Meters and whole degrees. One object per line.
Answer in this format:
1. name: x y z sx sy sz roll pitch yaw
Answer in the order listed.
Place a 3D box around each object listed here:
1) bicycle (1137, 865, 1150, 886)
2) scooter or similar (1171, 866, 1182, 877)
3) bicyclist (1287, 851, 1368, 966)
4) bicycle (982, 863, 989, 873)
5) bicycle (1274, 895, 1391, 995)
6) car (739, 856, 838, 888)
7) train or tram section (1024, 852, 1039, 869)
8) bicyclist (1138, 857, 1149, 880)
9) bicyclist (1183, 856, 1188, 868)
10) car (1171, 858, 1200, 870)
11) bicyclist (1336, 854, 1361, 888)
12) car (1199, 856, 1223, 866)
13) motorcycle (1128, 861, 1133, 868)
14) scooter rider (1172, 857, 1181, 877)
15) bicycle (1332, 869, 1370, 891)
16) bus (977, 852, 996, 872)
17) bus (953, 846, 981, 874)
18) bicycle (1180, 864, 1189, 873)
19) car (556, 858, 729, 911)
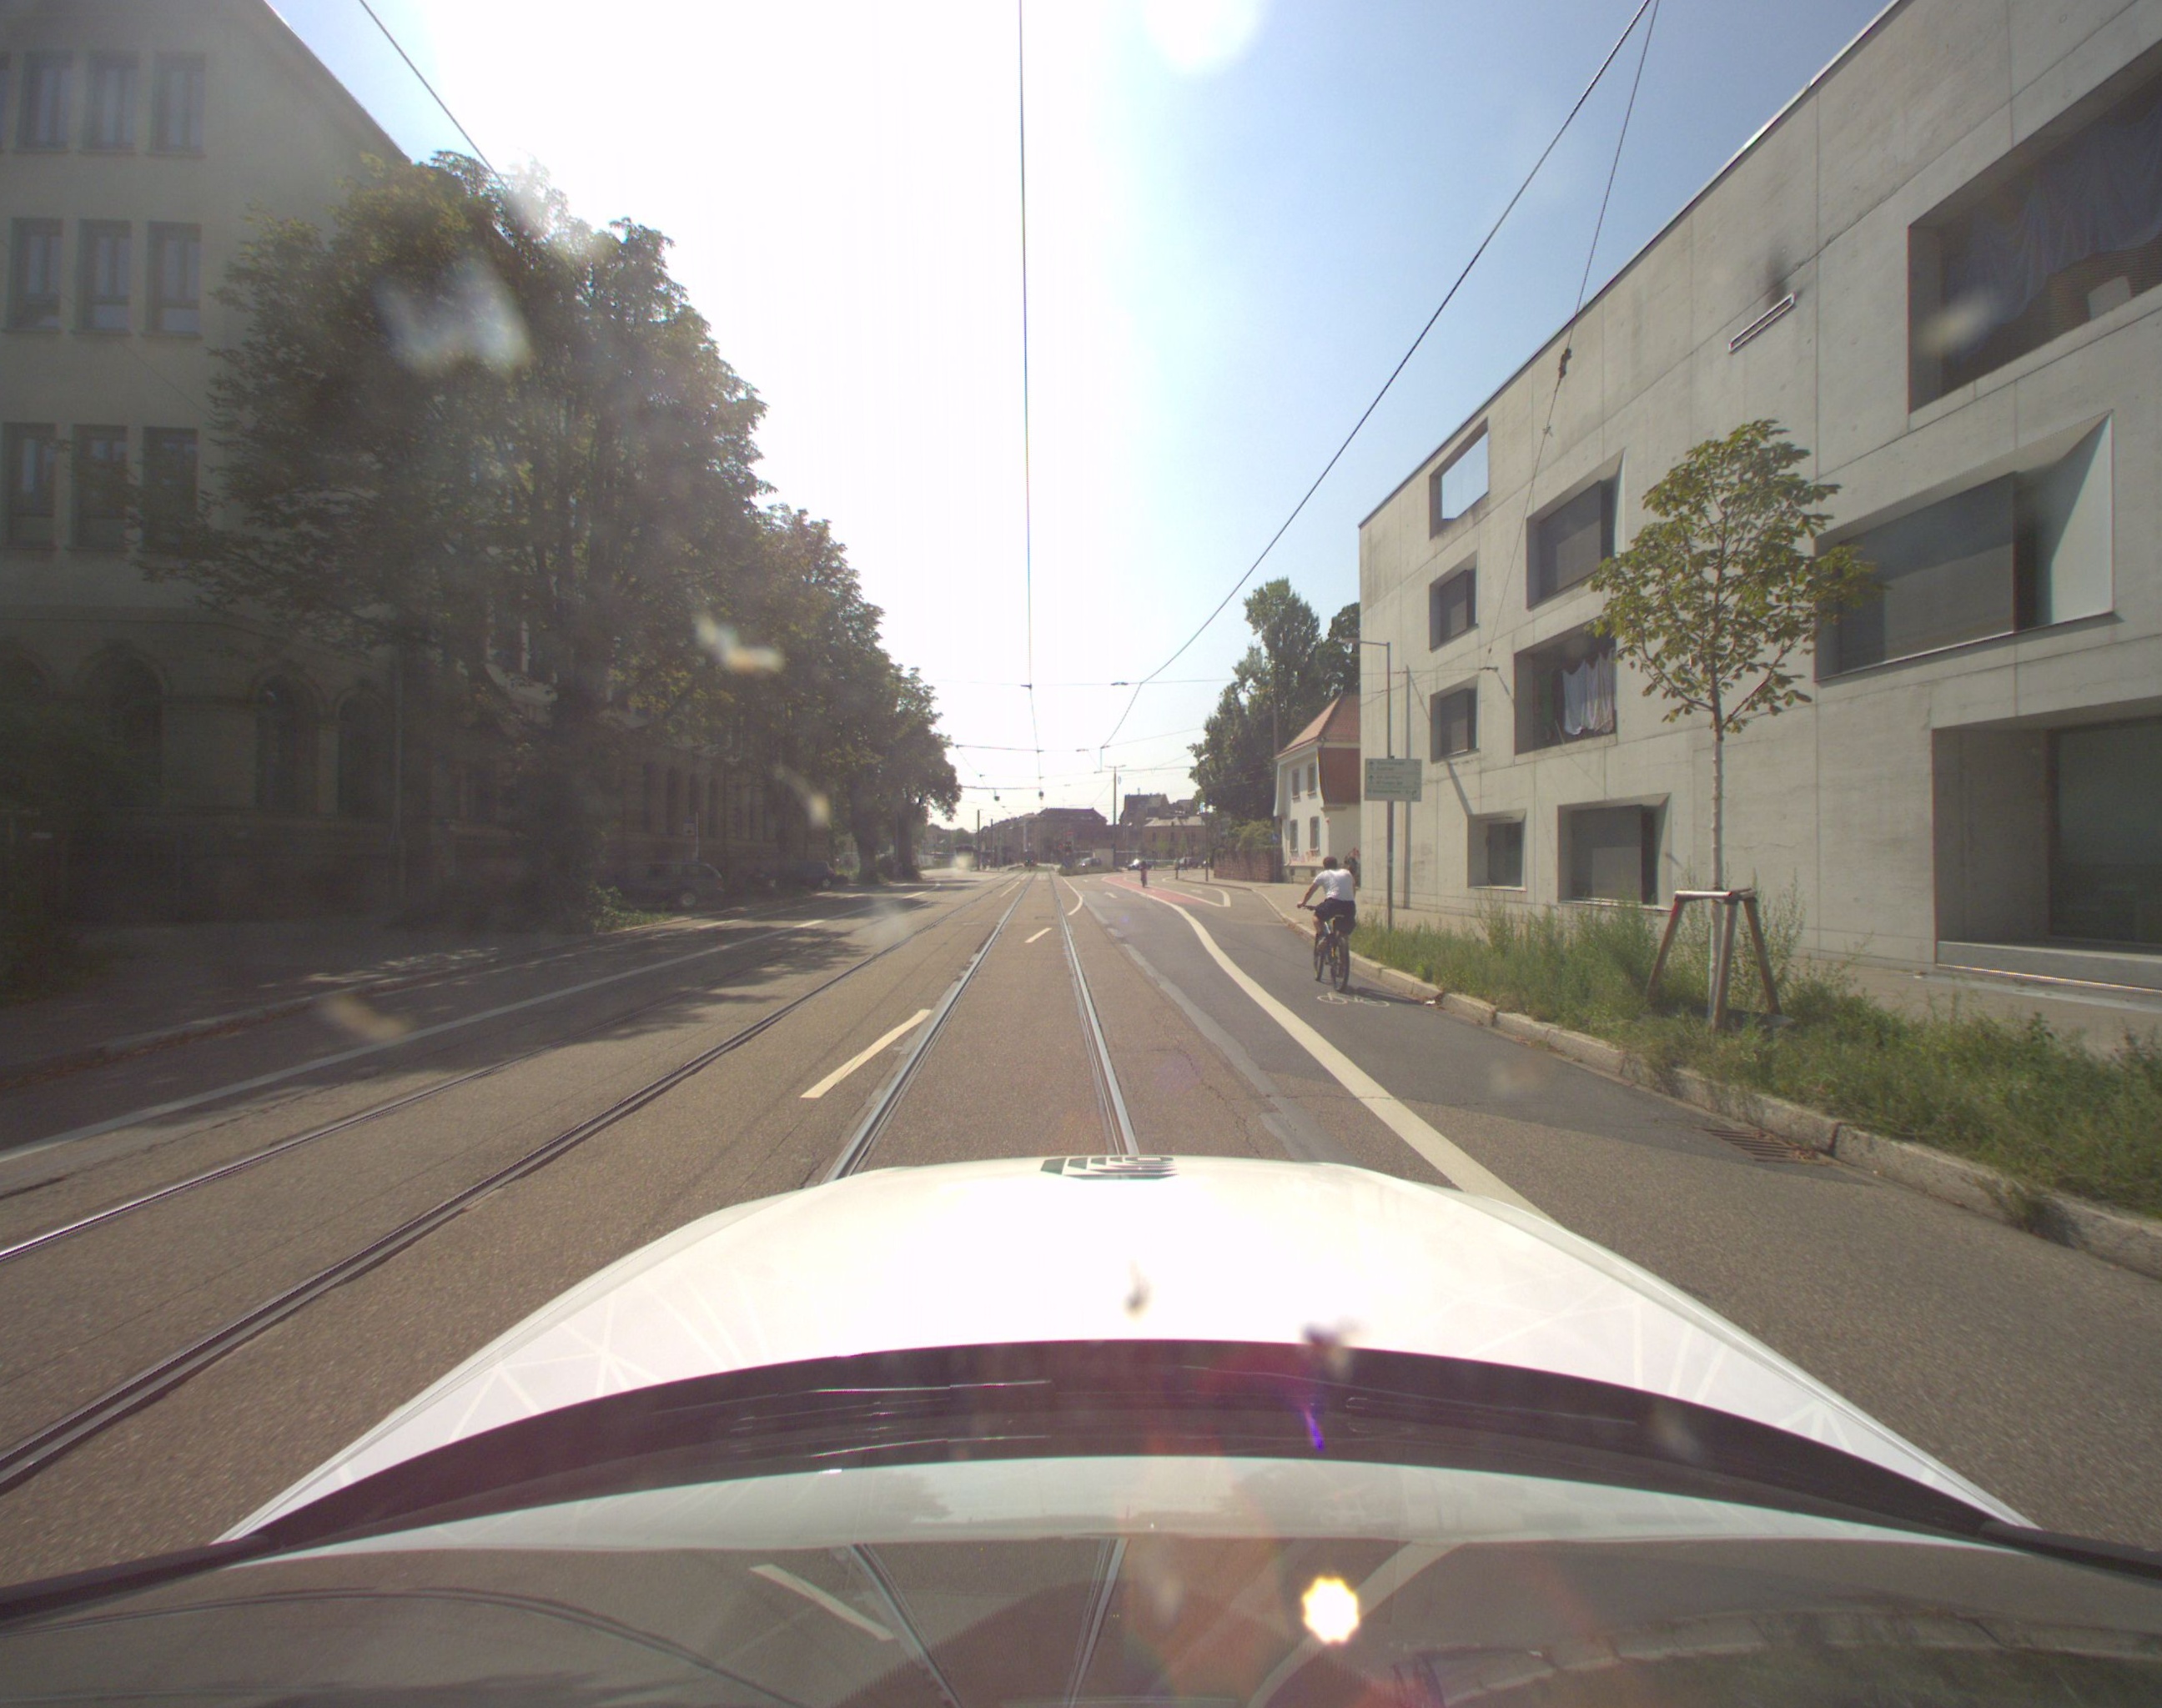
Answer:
1. bicycle: 3.613 1.231 47.045 0.602 1.163 1.810 0 -1 1
2. scooter or similar: 8.621 1.555 73.529 0.766 0.926 1.627 0 0 15
3. bicyclist: 3.167 0.676 10.548 0.743 1.412 0.961 0 -1 -2
4. bicycle: -12.079 1.802 103.015 0.605 1.223 1.705 0 -1 2
5. bicycle: 3.161 1.096 10.472 0.737 1.049 2.231 0 0 -2
6. car: -14.185 0.854 39.617 4.185 1.496 1.800 1 0 -40
7. train or tram section: -10.608 1.428 175.735 2.850 3.548 17.722 1 -1 -3
8. bicyclist: 3.611 0.855 47.042 0.601 1.335 0.659 0 -1 -1
9. bicyclist: 12.687 0.941 98.955 0.445 1.421 0.499 -1 -1 33
10. car: 14.970 1.452 116.558 1.755 1.610 4.701 -1 -1 42
11. bicyclist: 12.678 0.794 38.617 0.993 1.598 0.623 0 -1 -22
12. car: 19.765 1.124 123.916 1.634 1.530 4.352 -1 -1 38
13. motorcycle: 7.724 1.639 127.676 0.600 1.211 2.258 0 -1 8
14. scooter rider: 8.652 1.164 73.609 0.756 1.775 0.557 0 -1 13
15. bicycle: 12.821 1.229 38.671 1.712 1.000 0.611 1 -1 -22
16. bus: -18.677 1.583 161.383 2.702 3.727 10.413 1 -1 -1
17. bus: -16.215 0.946 116.217 2.951 3.775 10.583 1 -1 -3
18. bicycle: 12.547 1.718 98.726 0.440 1.117 1.455 -1 -1 34
19. car: -13.191 0.895 24.679 4.442 1.462 1.804 1 -1 -30
